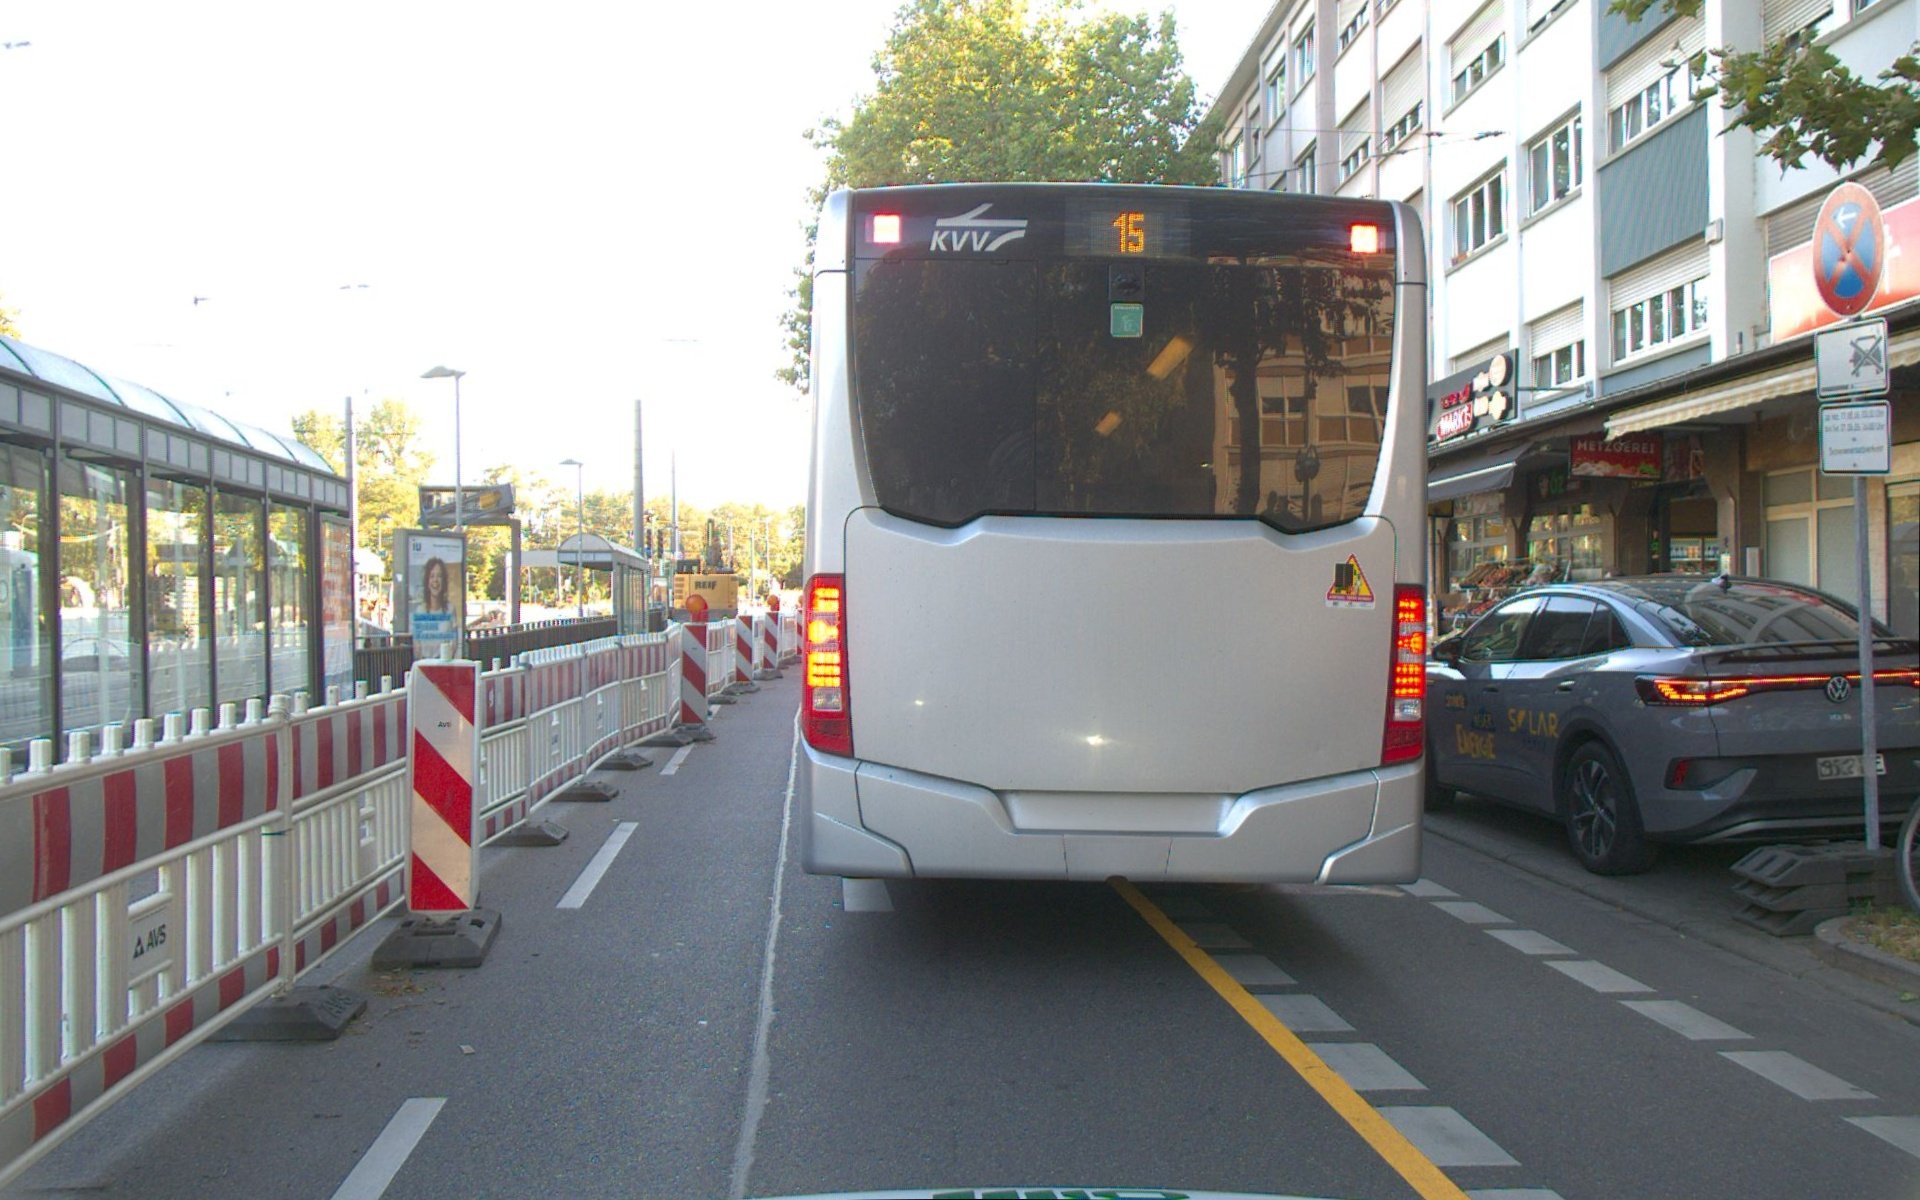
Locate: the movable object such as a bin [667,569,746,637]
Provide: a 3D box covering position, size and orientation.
[{"bbox_3d":[-9.699,0.093,63.528,2.752,2.505,3.995,-1,0,-6],"label":"movable object such as a bin"}]

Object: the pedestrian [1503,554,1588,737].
[{"bbox_3d":[6.725,0.515,19.021,0.677,2.049,0.696,-1,0,-4],"label":"pedestrian"}]

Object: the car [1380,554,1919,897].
[{"bbox_3d":[4.233,0.607,10.365,1.706,1.625,4.294,-3,0,-5],"label":"car"}]

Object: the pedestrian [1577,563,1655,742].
[{"bbox_3d":[7.668,0.603,19.351,0.600,2.049,0.696,-1,0,-2],"label":"pedestrian"}]

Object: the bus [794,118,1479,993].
[{"bbox_3d":[0.507,-0.181,11.293,2.555,3.225,10.287,0,0,-2],"label":"bus"}]
